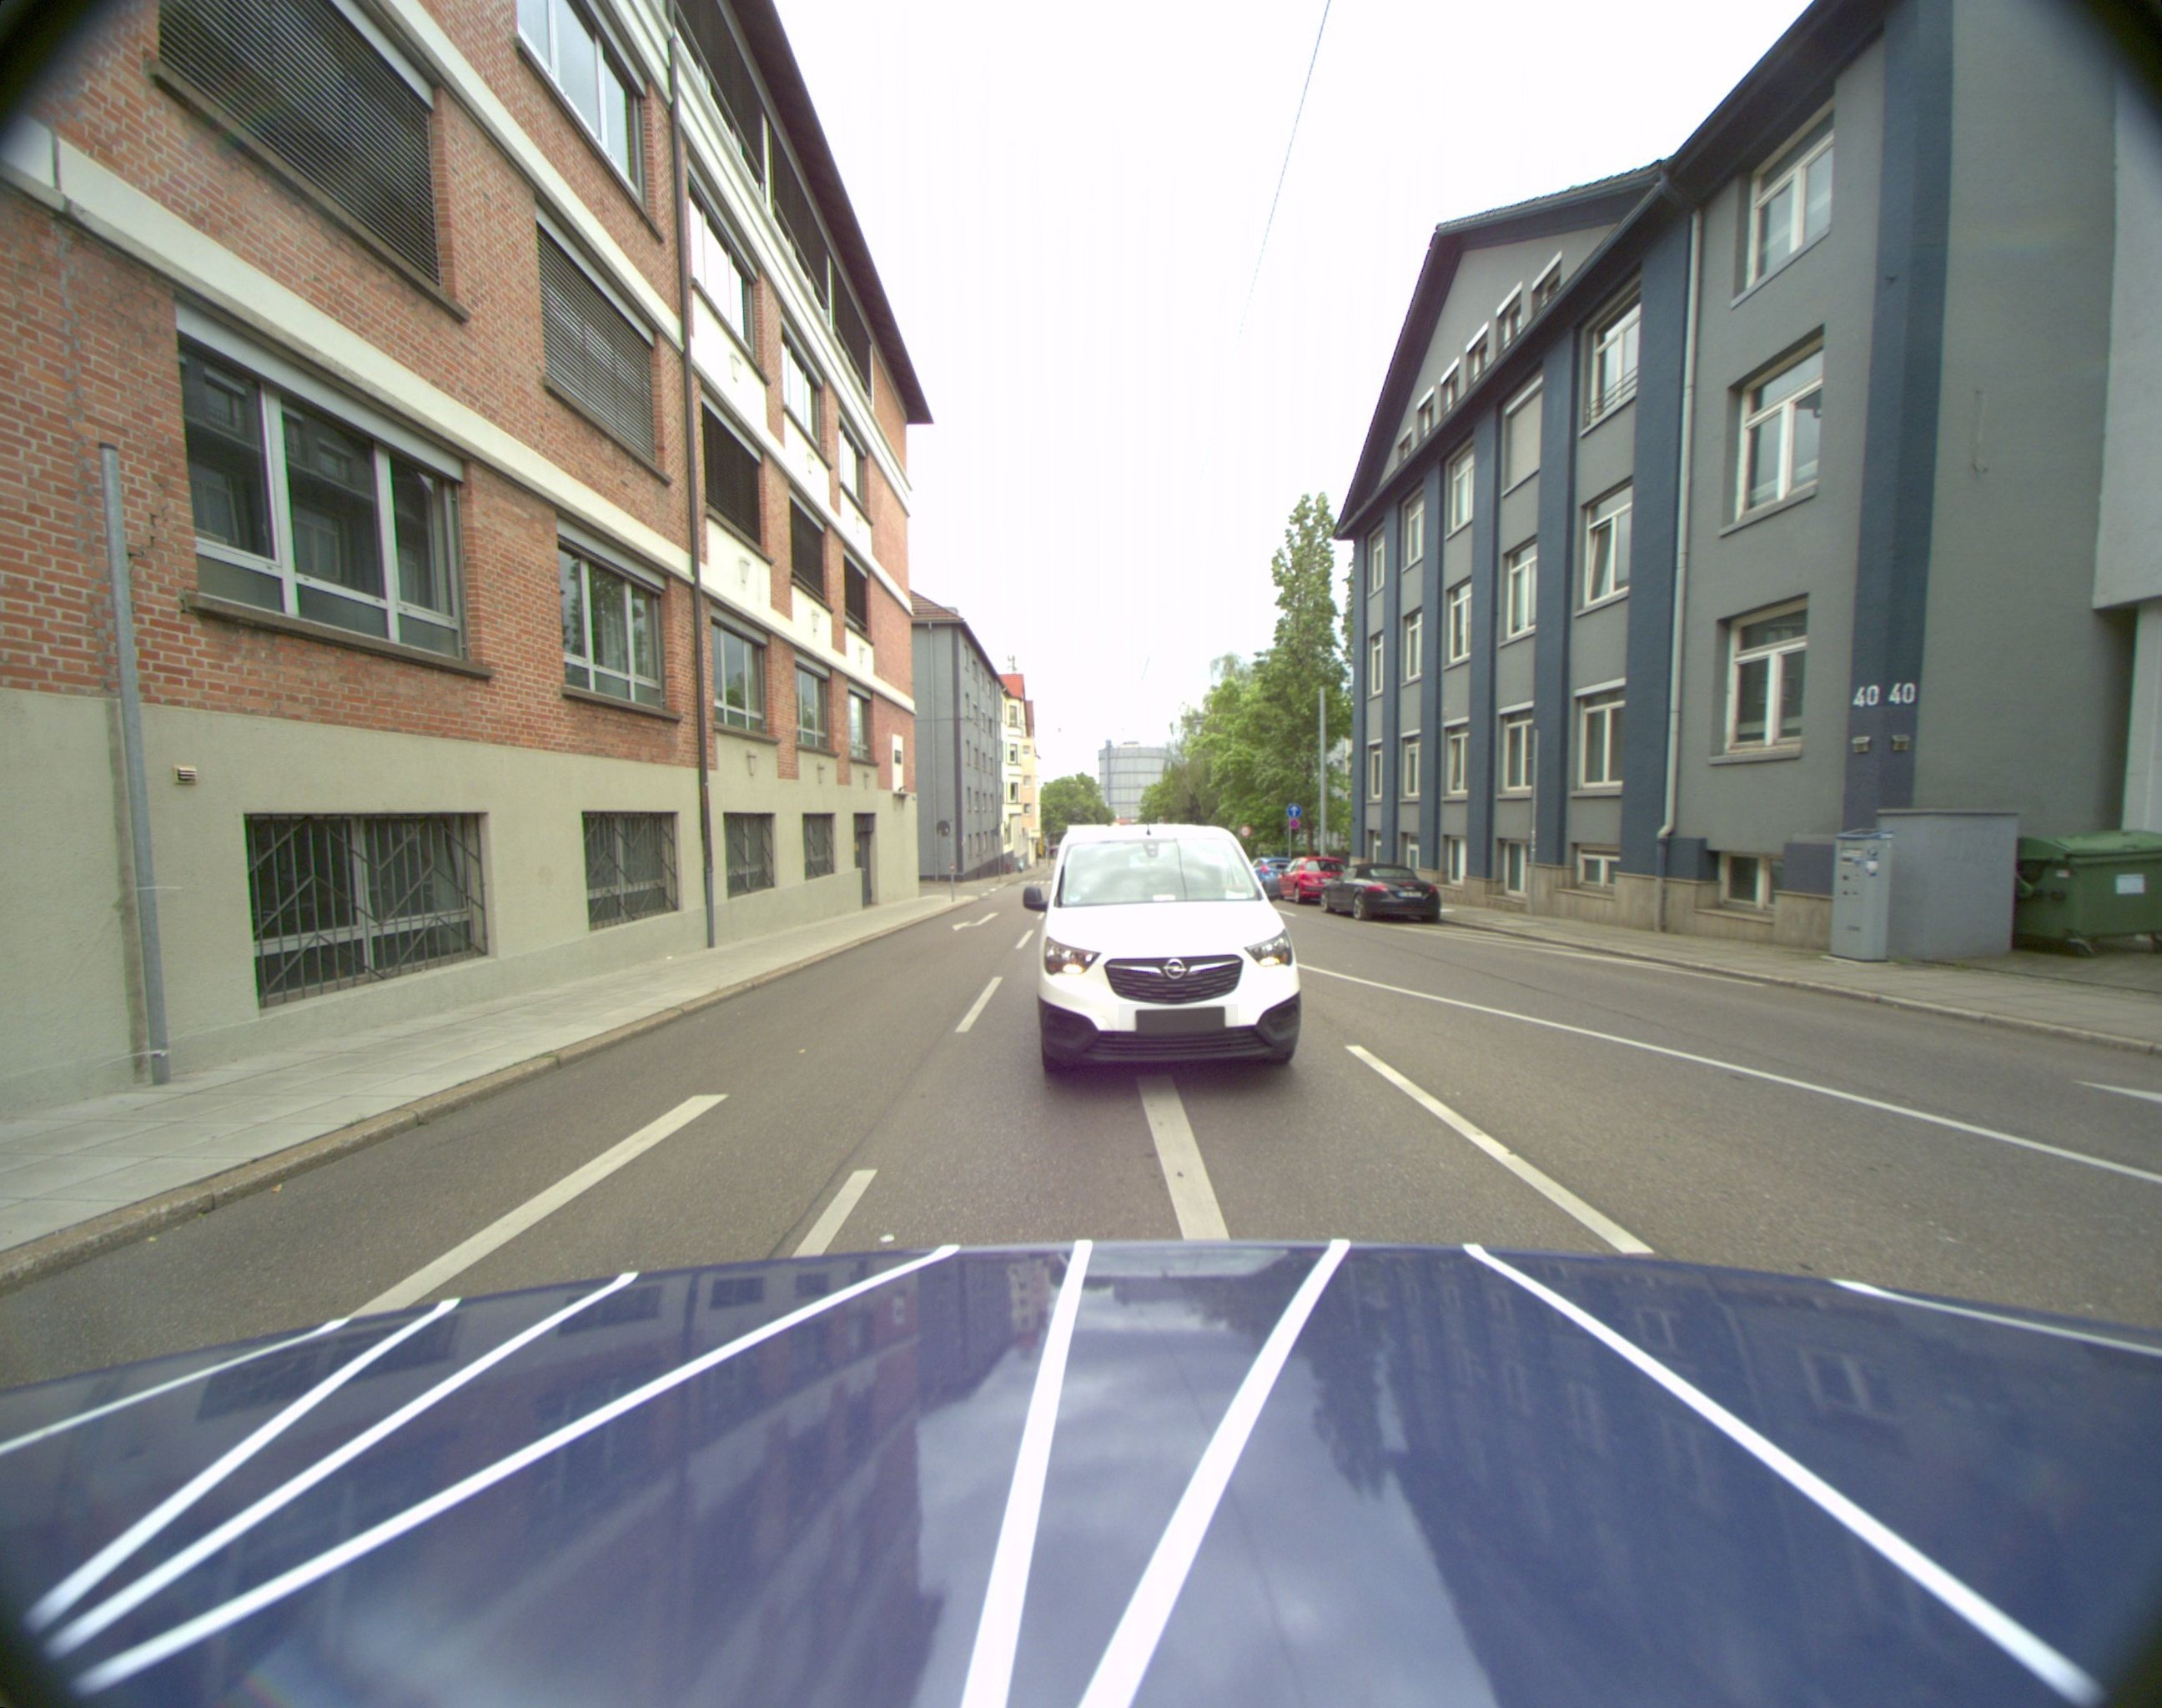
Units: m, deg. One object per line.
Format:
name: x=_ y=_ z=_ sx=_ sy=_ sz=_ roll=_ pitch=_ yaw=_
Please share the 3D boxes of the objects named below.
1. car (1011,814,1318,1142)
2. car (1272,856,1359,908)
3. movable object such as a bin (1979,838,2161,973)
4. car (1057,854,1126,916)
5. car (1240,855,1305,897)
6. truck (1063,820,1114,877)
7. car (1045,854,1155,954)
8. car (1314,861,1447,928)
car: x=0.523 y=0.715 z=6.469 sx=1.739 sy=1.875 sz=3.999 roll=-2 pitch=1 yaw=1
car: x=7.406 y=0.828 z=24.347 sx=1.644 sy=1.441 sz=3.729 roll=-2 pitch=1 yaw=1
movable object such as a bin: x=12.073 y=0.576 z=9.165 sx=1.229 sy=1.498 sz=1.040 roll=-2 pitch=1 yaw=1
car: x=0.301 y=0.822 z=21.888 sx=1.739 sy=1.519 sz=3.999 roll=-2 pitch=1 yaw=1
car: x=7.430 y=0.799 z=29.799 sx=1.644 sy=1.441 sz=3.729 roll=-2 pitch=1 yaw=1
truck: x=0.528 y=-0.386 z=51.193 sx=2.969 sy=3.409 sz=8.879 roll=-2 pitch=1 yaw=1
car: x=0.341 y=0.811 z=14.395 sx=1.739 sy=1.519 sz=3.999 roll=-2 pitch=1 yaw=1
car: x=7.126 y=0.899 z=18.508 sx=1.801 sy=1.384 sz=3.729 roll=0 pitch=1 yaw=1
